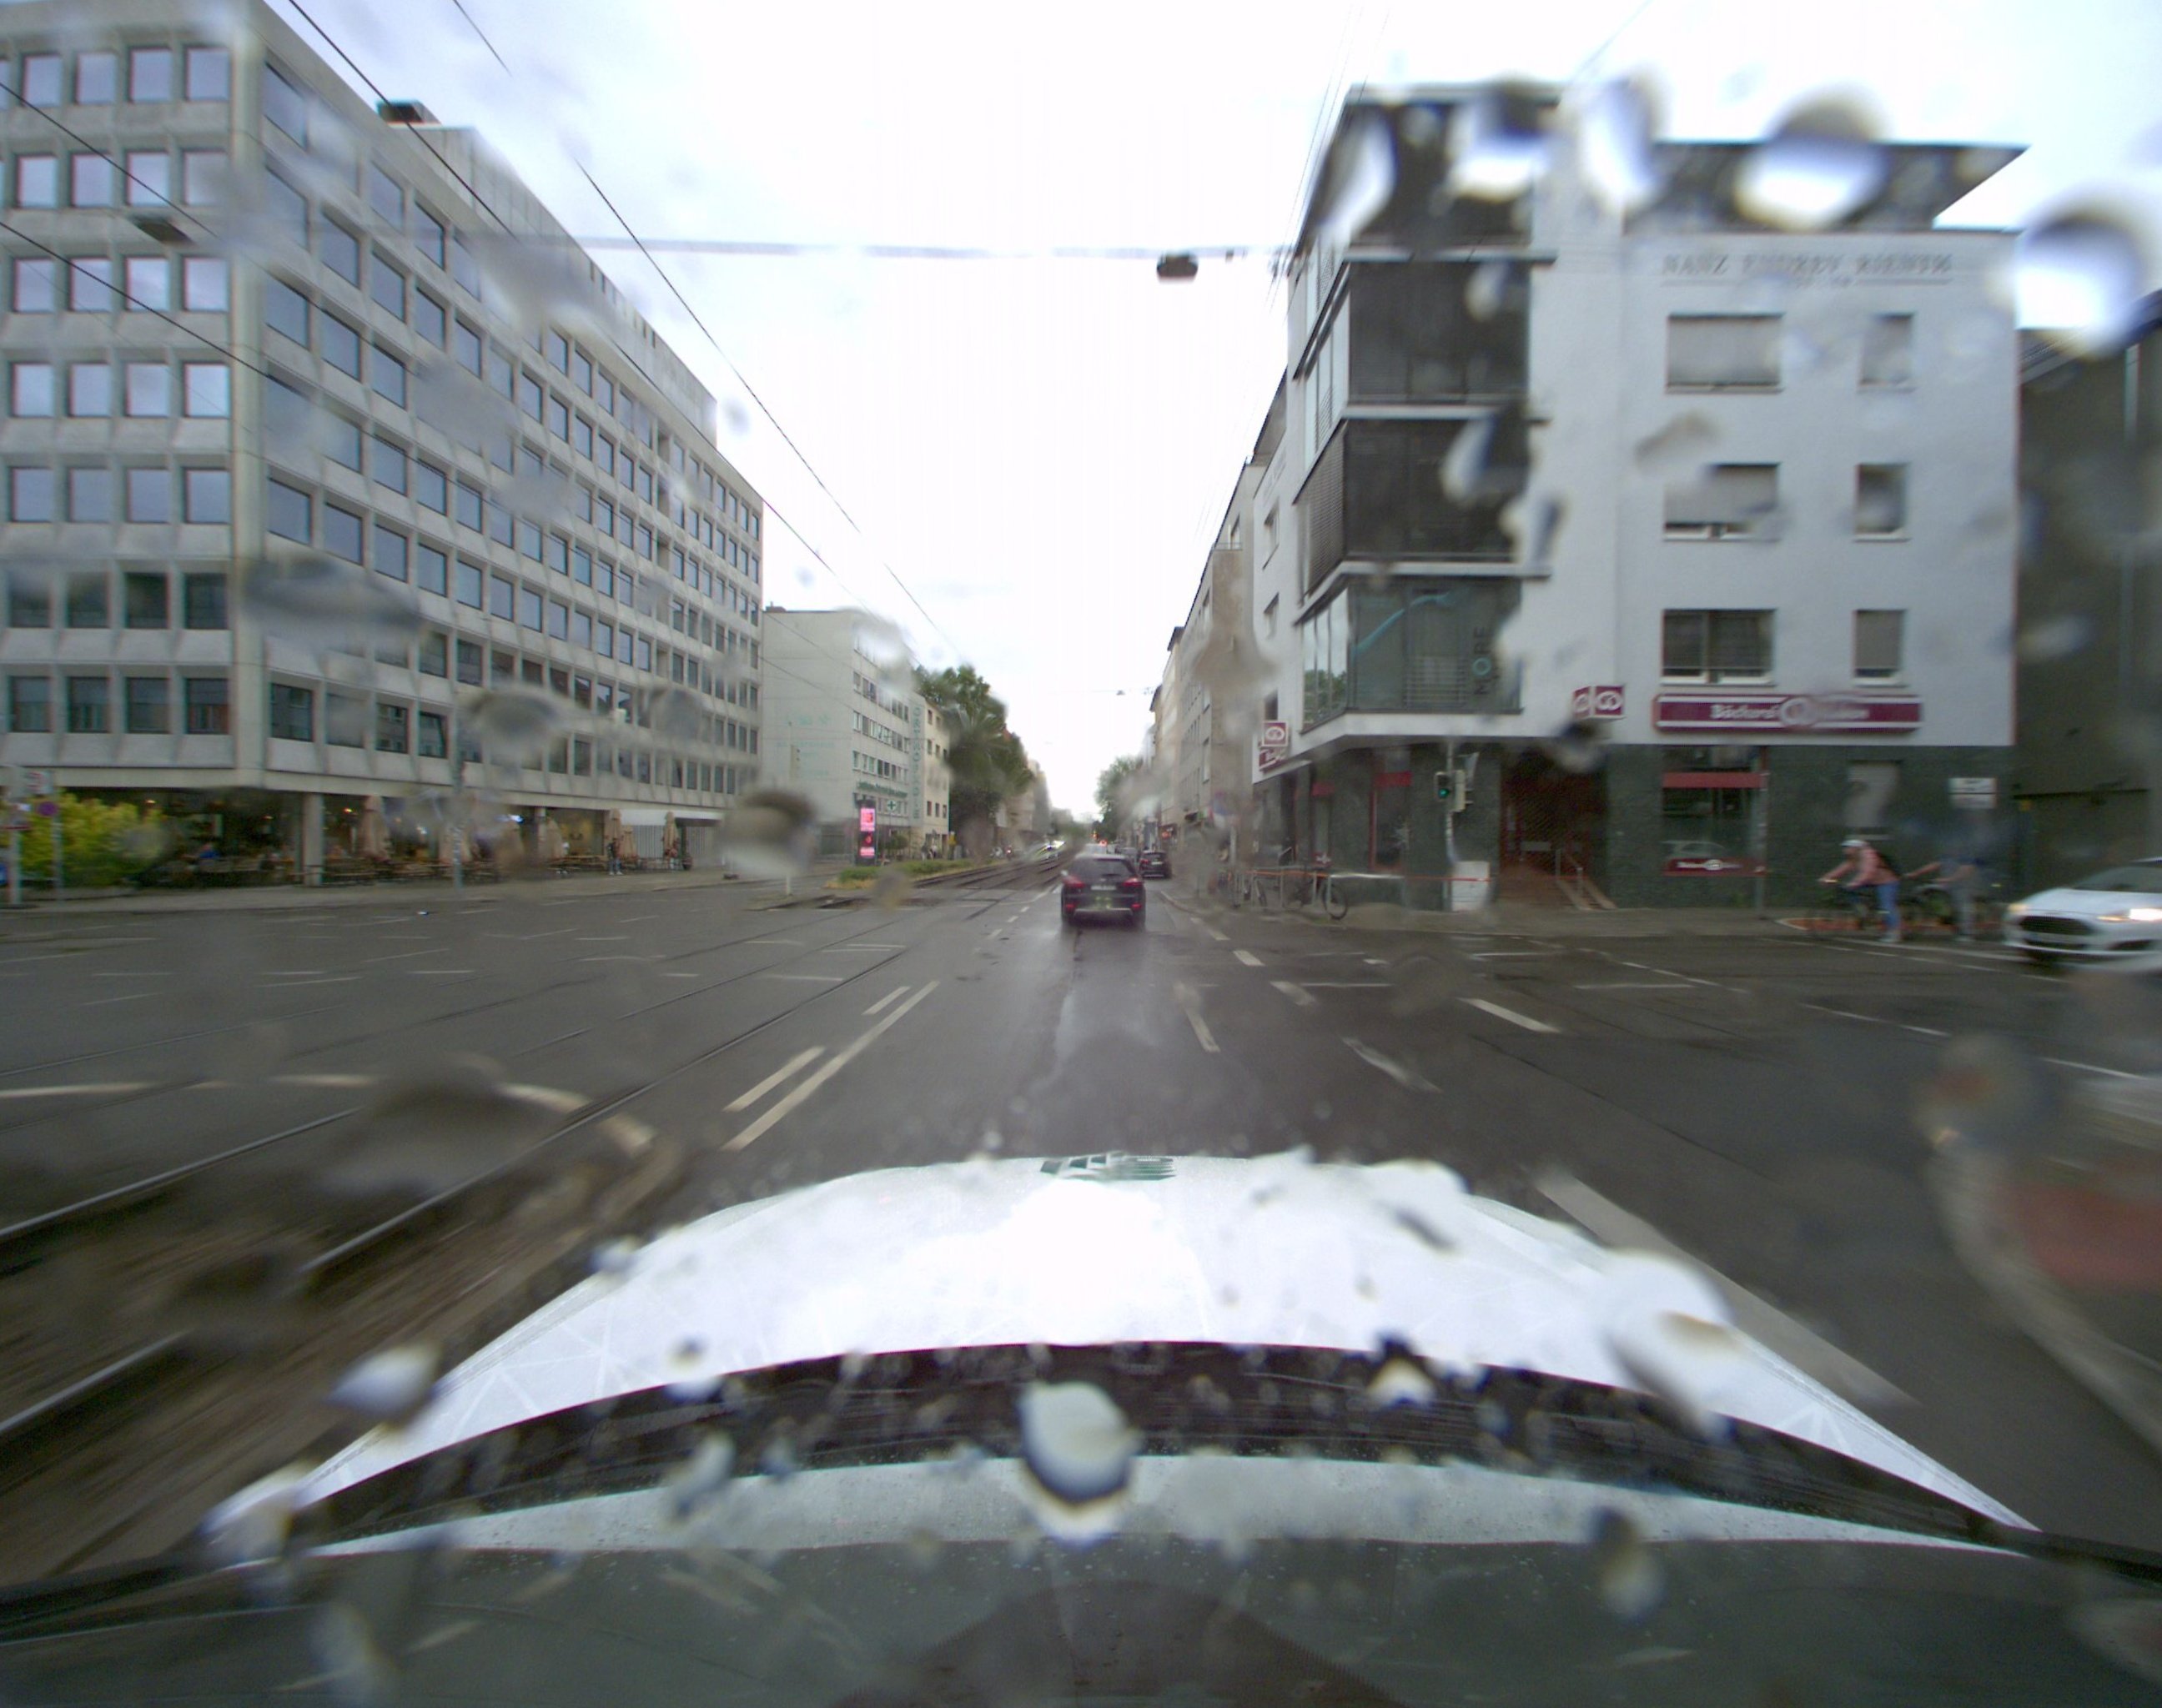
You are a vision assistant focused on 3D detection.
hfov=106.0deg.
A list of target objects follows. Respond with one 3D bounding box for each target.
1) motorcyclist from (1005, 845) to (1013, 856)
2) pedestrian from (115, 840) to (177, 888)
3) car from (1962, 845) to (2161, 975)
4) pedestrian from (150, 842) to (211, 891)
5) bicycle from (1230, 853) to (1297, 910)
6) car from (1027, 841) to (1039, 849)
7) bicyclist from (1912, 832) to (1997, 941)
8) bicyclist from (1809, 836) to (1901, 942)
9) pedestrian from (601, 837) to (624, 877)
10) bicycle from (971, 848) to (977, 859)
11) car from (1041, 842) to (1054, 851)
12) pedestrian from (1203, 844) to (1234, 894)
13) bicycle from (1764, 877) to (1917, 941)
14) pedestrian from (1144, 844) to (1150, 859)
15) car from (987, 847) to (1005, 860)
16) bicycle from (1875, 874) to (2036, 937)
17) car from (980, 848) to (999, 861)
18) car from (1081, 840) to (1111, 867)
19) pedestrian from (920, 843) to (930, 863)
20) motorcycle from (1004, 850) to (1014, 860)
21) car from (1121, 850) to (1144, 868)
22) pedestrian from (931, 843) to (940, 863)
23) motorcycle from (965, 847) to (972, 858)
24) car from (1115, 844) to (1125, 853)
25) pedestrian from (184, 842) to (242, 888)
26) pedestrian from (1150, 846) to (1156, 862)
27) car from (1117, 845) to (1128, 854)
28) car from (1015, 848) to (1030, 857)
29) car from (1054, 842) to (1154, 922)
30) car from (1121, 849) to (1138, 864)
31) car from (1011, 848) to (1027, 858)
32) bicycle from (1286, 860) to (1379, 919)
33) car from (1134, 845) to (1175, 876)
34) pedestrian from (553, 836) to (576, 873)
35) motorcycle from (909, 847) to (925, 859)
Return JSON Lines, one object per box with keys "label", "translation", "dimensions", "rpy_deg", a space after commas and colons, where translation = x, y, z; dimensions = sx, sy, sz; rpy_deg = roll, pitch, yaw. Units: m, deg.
{"label": "motorcyclist", "translation": [-7.967, -0.350, 90.056], "dimensions": [0.738, 1.217, 0.971], "rpy_deg": [1, 0, 3]}
{"label": "pedestrian", "translation": [-30.393, 0.307, 26.494], "dimensions": [0.958, 1.532, 0.897], "rpy_deg": [0, 1, 0]}
{"label": "car", "translation": [13.985, 0.633, 10.252], "dimensions": [3.953, 1.487, 1.722], "rpy_deg": [0, 0, 0]}
{"label": "pedestrian", "translation": [-29.073, 0.391, 26.316], "dimensions": [0.958, 1.532, 0.897], "rpy_deg": [0, 1, 1]}
{"label": "bicycle", "translation": [4.230, 0.612, 19.039], "dimensions": [0.499, 1.259, 1.942], "rpy_deg": [1, 0, -23]}
{"label": "car", "translation": [-9.022, -1.650, 153.184], "dimensions": [1.986, 1.519, 4.678], "rpy_deg": [1, 1, 1]}
{"label": "bicyclist", "translation": [14.872, 0.538, 13.878], "dimensions": [0.631, 1.791, 0.757], "rpy_deg": [0, 0, 0]}
{"label": "bicyclist", "translation": [13.096, 0.575, 13.799], "dimensions": [0.837, 1.746, 0.757], "rpy_deg": [0, 0, 0]}
{"label": "pedestrian", "translation": [-21.752, 0.143, 37.831], "dimensions": [0.563, 1.822, 0.843], "rpy_deg": [1, 0, -3]}
{"label": "bicycle", "translation": [-12.484, -0.054, 95.130], "dimensions": [0.590, 1.226, 2.399], "rpy_deg": [1, 0, -5]}
{"label": "car", "translation": [-6.134, -1.369, 149.004], "dimensions": [1.986, 1.519, 4.445], "rpy_deg": [1, -1, 2]}
{"label": "pedestrian", "translation": [4.384, 0.466, 26.008], "dimensions": [0.661, 1.582, 0.774], "rpy_deg": [0, 0, -20]}
{"label": "bicycle", "translation": [12.824, 0.914, 13.791], "dimensions": [1.919, 1.010, 0.755], "rpy_deg": [0, 0, -1]}
{"label": "pedestrian", "translation": [8.265, -0.266, 102.023], "dimensions": [0.659, 1.852, 0.821], "rpy_deg": [0, 1, 1]}
{"label": "car", "translation": [-10.749, -0.052, 102.884], "dimensions": [1.715, 1.570, 4.221], "rpy_deg": [1, 1, 1]}
{"label": "bicycle", "translation": [14.871, 0.863, 13.882], "dimensions": [1.974, 1.010, 0.755], "rpy_deg": [0, 0, -1]}
{"label": "car", "translation": [-10.968, 0.052, 97.941], "dimensions": [1.737, 1.468, 4.221], "rpy_deg": [-1, 1, 1]}
{"label": "car", "translation": [1.066, -0.035, 56.346], "dimensions": [1.986, 1.816, 4.273], "rpy_deg": [0, 0, 2]}
{"label": "pedestrian", "translation": [-14.923, -0.141, 77.989], "dimensions": [0.724, 1.896, 0.983], "rpy_deg": [1, 0, 1]}
{"label": "motorcycle", "translation": [-7.970, 0.099, 90.085], "dimensions": [0.739, 1.059, 1.933], "rpy_deg": [1, 0, 3]}
{"label": "car", "translation": [4.749, 0.419, 75.210], "dimensions": [1.986, 1.594, 4.574], "rpy_deg": [0, 0, 2]}
{"label": "pedestrian", "translation": [-13.956, -0.077, 77.976], "dimensions": [0.676, 1.896, 0.743], "rpy_deg": [1, 0, 1]}
{"label": "motorcycle", "translation": [-14.963, -0.176, 108.733], "dimensions": [0.637, 1.379, 2.119], "rpy_deg": [1, 0, 0]}
{"label": "car", "translation": [6.772, -0.909, 143.063], "dimensions": [1.637, 1.515, 4.040], "rpy_deg": [0, 1, 1]}
{"label": "pedestrian", "translation": [-29.060, 0.359, 27.273], "dimensions": [0.891, 1.532, 0.965], "rpy_deg": [0, 1, 0]}
{"label": "pedestrian", "translation": [9.005, 0.040, 102.234], "dimensions": [0.733, 2.013, 0.821], "rpy_deg": [0, 1, 1]}
{"label": "car", "translation": [6.998, -0.772, 138.559], "dimensions": [1.732, 1.489, 4.001], "rpy_deg": [0, 1, 1]}
{"label": "car", "translation": [-9.732, -0.295, 135.840], "dimensions": [1.986, 1.519, 4.210], "rpy_deg": [1, 1, 1]}
{"label": "car", "translation": [0.540, 0.562, 18.404], "dimensions": [1.986, 1.594, 4.273], "rpy_deg": [0, 0, 2]}
{"label": "car", "translation": [5.140, 0.222, 86.690], "dimensions": [1.740, 1.523, 4.356], "rpy_deg": [0, 1, 1]}
{"label": "car", "translation": [-9.972, -0.212, 131.255], "dimensions": [1.986, 1.519, 4.437], "rpy_deg": [1, 1, 1]}
{"label": "bicycle", "translation": [5.302, 0.722, 17.271], "dimensions": [0.580, 1.157, 1.935], "rpy_deg": [1, 0, -35]}
{"label": "car", "translation": [3.903, 0.330, 43.801], "dimensions": [1.986, 1.594, 4.273], "rpy_deg": [0, 0, 2]}
{"label": "pedestrian", "translation": [-24.281, 0.013, 38.287], "dimensions": [0.563, 1.748, 0.843], "rpy_deg": [1, 0, -3]}
{"label": "motorcycle", "translation": [-16.700, -0.077, 83.003], "dimensions": [1.472, 1.180, 0.386], "rpy_deg": [1, 0, 0]}
